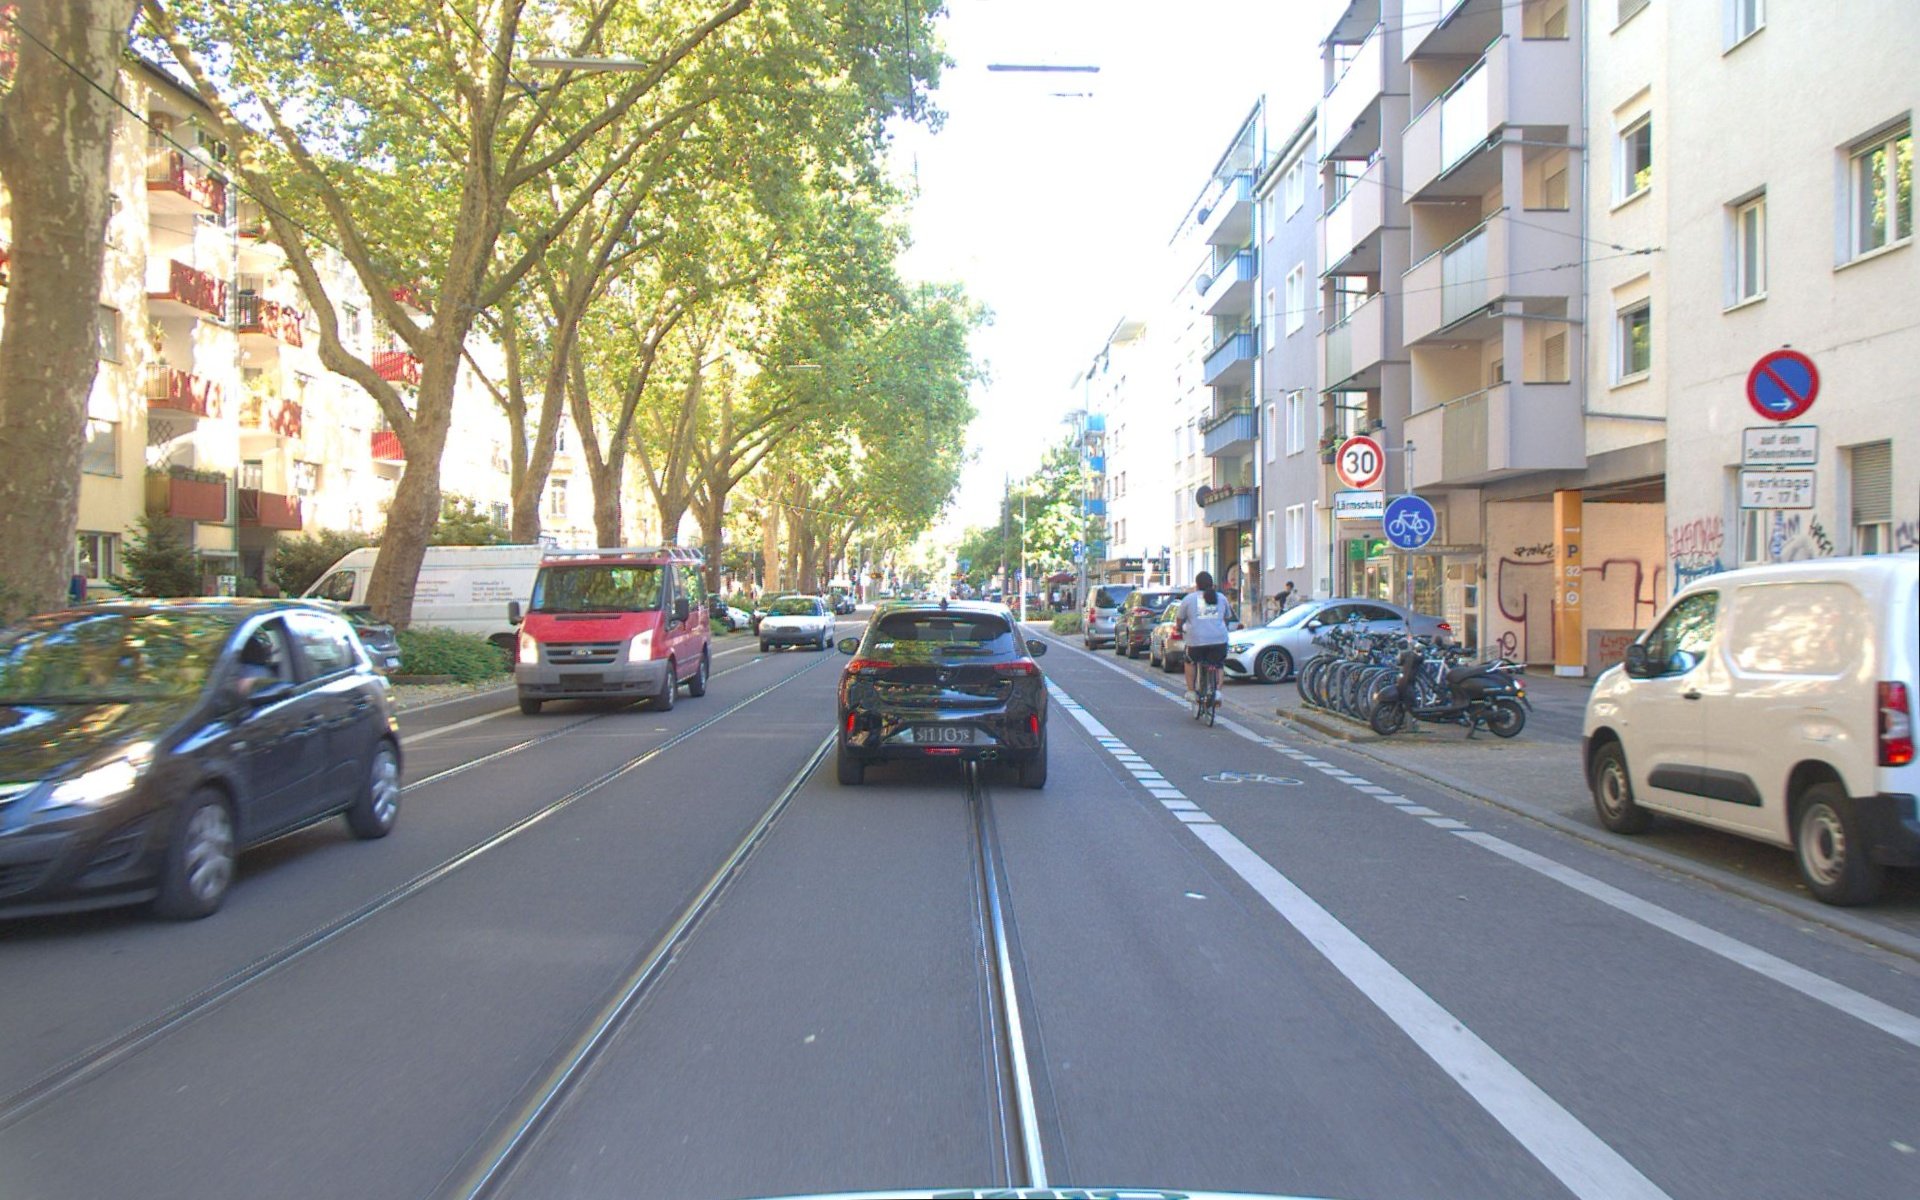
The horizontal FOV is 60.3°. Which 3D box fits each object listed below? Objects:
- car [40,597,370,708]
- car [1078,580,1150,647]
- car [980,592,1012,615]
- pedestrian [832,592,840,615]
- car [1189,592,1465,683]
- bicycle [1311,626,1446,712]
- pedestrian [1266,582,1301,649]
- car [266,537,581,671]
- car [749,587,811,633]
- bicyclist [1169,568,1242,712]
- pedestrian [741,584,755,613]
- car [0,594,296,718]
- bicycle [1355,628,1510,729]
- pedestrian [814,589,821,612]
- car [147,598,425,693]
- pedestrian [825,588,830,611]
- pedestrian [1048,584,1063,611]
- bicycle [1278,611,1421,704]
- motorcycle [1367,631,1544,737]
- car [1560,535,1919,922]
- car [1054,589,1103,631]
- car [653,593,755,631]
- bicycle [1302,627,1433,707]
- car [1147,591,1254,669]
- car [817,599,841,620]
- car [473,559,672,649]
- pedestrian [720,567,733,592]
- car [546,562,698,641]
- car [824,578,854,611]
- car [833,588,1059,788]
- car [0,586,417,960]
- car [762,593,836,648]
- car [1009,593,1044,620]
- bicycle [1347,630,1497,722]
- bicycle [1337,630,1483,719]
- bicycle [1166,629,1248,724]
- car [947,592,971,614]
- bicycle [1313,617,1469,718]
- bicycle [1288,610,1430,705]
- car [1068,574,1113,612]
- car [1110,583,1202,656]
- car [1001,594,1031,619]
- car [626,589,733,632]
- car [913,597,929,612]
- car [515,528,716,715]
[{"bbox_3d":[-10.823,0.724,23.911,3.905,1.522,1.830,0,0,0],"label":"car"},{"bbox_3d":[4.660,0.386,50.531,1.820,1.923,4.925,0,0,1],"label":"car"},{"bbox_3d":[2.688,0.265,124.333,1.954,1.668,3.996,0,0,-4],"label":"car"},{"bbox_3d":[-8.708,0.261,116.179,0.496,1.610,0.526,0,0,-1],"label":"pedestrian"},{"bbox_3d":[6.652,0.646,30.134,4.532,1.462,1.859,-2,0,-12],"label":"car"},{"bbox_3d":[5.447,0.890,21.569,1.619,1.038,0.457,-2,0,-1],"label":"bicycle"},{"bbox_3d":[8.573,0.409,43.853,0.741,1.750,0.720,0,0,-2],"label":"pedestrian"},{"bbox_3d":[-10.728,0.067,33.374,5.623,2.580,2.162,1,0,0],"label":"car"},{"bbox_3d":[-7.123,0.378,65.719,1.953,1.729,4.484,-2,0,-1],"label":"car"},{"bbox_3d":[3.118,0.496,21.066,0.770,1.790,0.914,0,0,-1],"label":"bicyclist"},{"bbox_3d":[-14.072,-0.109,109.887,0.887,1.901,0.643,0,0,-6],"label":"pedestrian"},{"bbox_3d":[-10.766,0.689,21.306,3.715,1.486,1.704,1,0,0],"label":"car"},{"bbox_3d":[5.422,0.891,19.013,1.619,1.073,0.457,-2,0,-1],"label":"bicycle"},{"bbox_3d":[-10.004,0.031,115.992,0.497,1.610,0.526,0,0,-4],"label":"pedestrian"},{"bbox_3d":[-10.704,0.701,26.439,3.729,1.457,1.705,0,0,1],"label":"car"},{"bbox_3d":[-9.302,-0.059,116.451,0.339,1.610,0.508,0,0,-2],"label":"pedestrian"},{"bbox_3d":[6.339,-0.188,110.135,0.753,1.779,0.795,0,0,26],"label":"pedestrian"},{"bbox_3d":[5.428,0.797,23.066,1.853,1.212,0.457,-2,0,-1],"label":"bicycle"},{"bbox_3d":[5.409,0.909,18.072,1.781,1.099,0.617,-1,0,23],"label":"motorcycle"},{"bbox_3d":[5.410,0.603,10.130,1.821,1.852,4.350,0,0,-1],"label":"car"},{"bbox_3d":[4.857,0.389,68.115,1.820,1.680,4.001,0,0,1],"label":"car"},{"bbox_3d":[-10.484,0.492,67.918,3.906,1.548,1.770,0,0,-2],"label":"car"},{"bbox_3d":[5.431,0.892,22.075,1.619,0.983,0.457,-2,0,-1],"label":"bicycle"},{"bbox_3d":[5.038,0.591,35.128,1.689,1.552,4.513,0,0,1],"label":"car"},{"bbox_3d":[-9.919,0.728,125.162,1.719,1.534,3.997,0,0,-4],"label":"car"},{"bbox_3d":[-11.125,0.108,47.786,5.250,2.521,2.057,0,0,0],"label":"car"},{"bbox_3d":[-15.234,-1.337,108.059,0.830,1.661,0.643,0,0,-6],"label":"pedestrian"},{"bbox_3d":[-11.537,0.042,56.685,4.845,2.612,2.081,0,0,-4],"label":"car"},{"bbox_3d":[-9.633,-0.445,132.370,2.050,2.629,5.996,0,0,-1],"label":"car"},{"bbox_3d":[-0.130,0.655,14.127,1.645,1.447,3.627,1,0,-1],"label":"car"},{"bbox_3d":[-4.255,0.707,8.668,1.683,1.536,3.722,0,0,-2],"label":"car"},{"bbox_3d":[-4.208,0.509,43.743,1.683,1.382,4.468,0,0,-2],"label":"car"},{"bbox_3d":[3.992,0.381,100.063,1.684,1.601,4.081,0,0,-4],"label":"car"},{"bbox_3d":[5.470,0.894,19.609,1.619,1.004,0.457,-2,0,-1],"label":"bicycle"},{"bbox_3d":[5.462,0.899,20.118,1.619,1.004,0.457,-2,0,-1],"label":"bicycle"},{"bbox_3d":[3.126,0.941,21.099,0.687,1.111,1.989,2,0,-1],"label":"bicycle"},{"bbox_3d":[-0.052,0.236,127.385,1.820,1.680,4.001,0,0,1],"label":"car"},{"bbox_3d":[5.422,0.839,20.871,1.757,1.168,0.704,-2,0,-1],"label":"bicycle"},{"bbox_3d":[5.434,0.781,22.567,1.786,1.212,0.457,-2,0,-1],"label":"bicycle"},{"bbox_3d":[5.870,-0.326,74.739,1.820,1.680,4.001,0,0,1],"label":"car"},{"bbox_3d":[4.883,0.459,41.737,1.731,1.734,4.282,0,0,-1],"label":"car"},{"bbox_3d":[3.574,0.409,105.519,1.683,1.516,3.680,0,0,-2],"label":"car"},{"bbox_3d":[-11.039,0.397,65.222,3.906,1.676,1.893,0,0,-2],"label":"car"},{"bbox_3d":[-4.492,0.464,189.777,1.714,1.680,4.001,0,0,1],"label":"car"},{"bbox_3d":[-4.550,0.248,22.567,1.879,2.266,4.958,0,0,-2],"label":"car"}]
